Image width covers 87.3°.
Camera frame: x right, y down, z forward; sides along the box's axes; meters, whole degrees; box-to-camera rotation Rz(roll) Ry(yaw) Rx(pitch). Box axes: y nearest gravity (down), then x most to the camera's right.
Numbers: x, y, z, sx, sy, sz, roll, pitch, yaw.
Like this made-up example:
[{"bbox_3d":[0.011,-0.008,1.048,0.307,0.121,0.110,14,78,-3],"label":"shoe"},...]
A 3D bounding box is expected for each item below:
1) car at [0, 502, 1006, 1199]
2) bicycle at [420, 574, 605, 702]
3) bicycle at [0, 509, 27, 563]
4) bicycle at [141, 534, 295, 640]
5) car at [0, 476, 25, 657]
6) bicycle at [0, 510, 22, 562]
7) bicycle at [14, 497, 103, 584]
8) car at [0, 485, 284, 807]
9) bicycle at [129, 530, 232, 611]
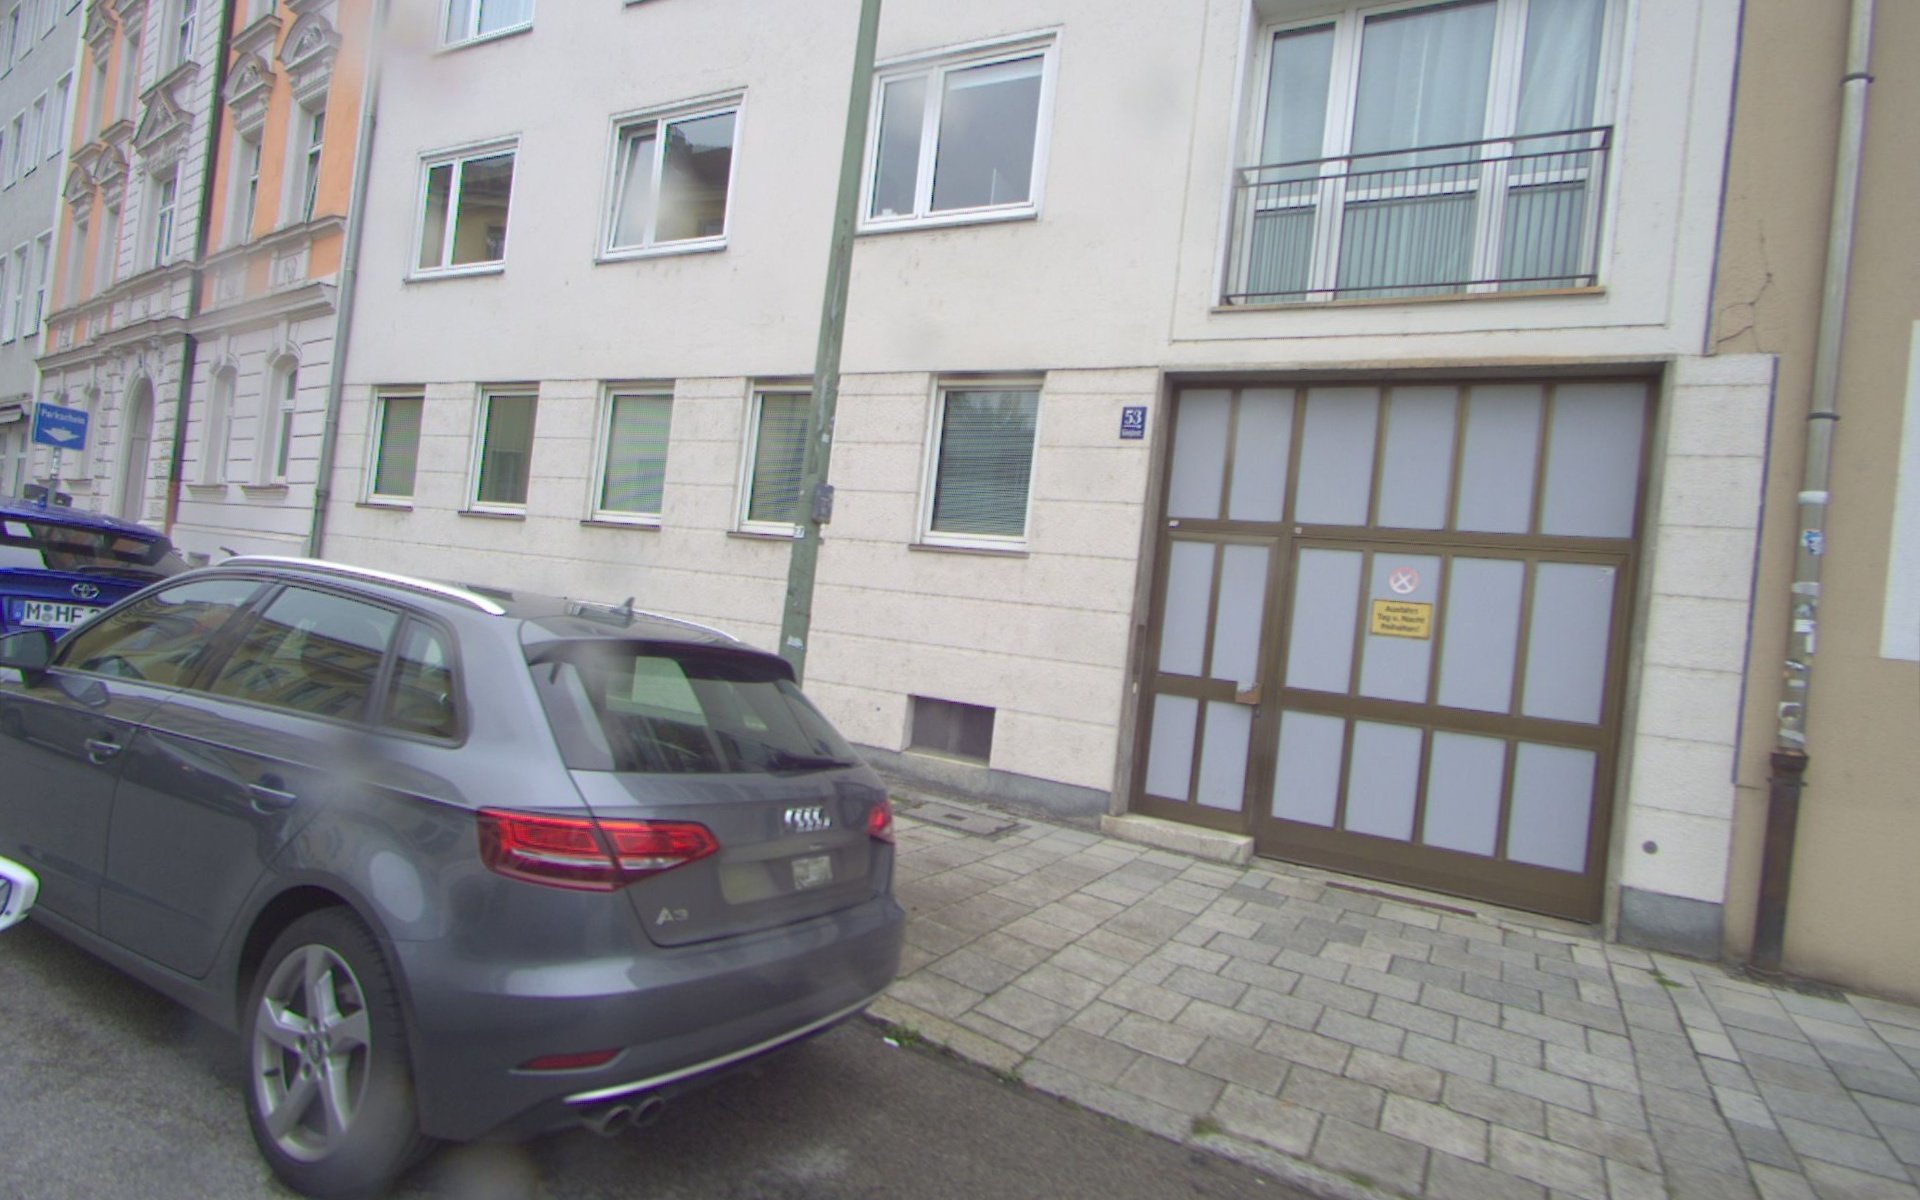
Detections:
[{"bbox_3d":[-2.219,0.579,3.701,4.326,1.470,1.711,6,-3,29],"label":"car"},{"bbox_3d":[-4.697,0.379,10.526,1.965,1.085,0.530,6,0,26],"label":"bicycle"},{"bbox_3d":[-19.919,-1.342,20.470,0.613,1.103,1.806,6,0,-19],"label":"bicycle"},{"bbox_3d":[-9.505,-0.169,12.872,1.960,1.126,0.724,6,0,28],"label":"bicycle"},{"bbox_3d":[-10.478,-0.495,9.101,3.738,1.692,1.686,6,-2,28],"label":"car"},{"bbox_3d":[-20.431,-1.379,20.761,0.506,1.081,1.845,6,0,-6],"label":"bicycle"},{"bbox_3d":[-16.447,-1.090,18.332,2.058,1.402,0.596,6,1,32],"label":"bicycle"},{"bbox_3d":[-6.171,0.057,6.224,4.477,1.512,1.743,6,-1,36],"label":"car"},{"bbox_3d":[-11.821,-0.455,15.241,1.788,1.037,0.596,6,1,32],"label":"bicycle"}]
